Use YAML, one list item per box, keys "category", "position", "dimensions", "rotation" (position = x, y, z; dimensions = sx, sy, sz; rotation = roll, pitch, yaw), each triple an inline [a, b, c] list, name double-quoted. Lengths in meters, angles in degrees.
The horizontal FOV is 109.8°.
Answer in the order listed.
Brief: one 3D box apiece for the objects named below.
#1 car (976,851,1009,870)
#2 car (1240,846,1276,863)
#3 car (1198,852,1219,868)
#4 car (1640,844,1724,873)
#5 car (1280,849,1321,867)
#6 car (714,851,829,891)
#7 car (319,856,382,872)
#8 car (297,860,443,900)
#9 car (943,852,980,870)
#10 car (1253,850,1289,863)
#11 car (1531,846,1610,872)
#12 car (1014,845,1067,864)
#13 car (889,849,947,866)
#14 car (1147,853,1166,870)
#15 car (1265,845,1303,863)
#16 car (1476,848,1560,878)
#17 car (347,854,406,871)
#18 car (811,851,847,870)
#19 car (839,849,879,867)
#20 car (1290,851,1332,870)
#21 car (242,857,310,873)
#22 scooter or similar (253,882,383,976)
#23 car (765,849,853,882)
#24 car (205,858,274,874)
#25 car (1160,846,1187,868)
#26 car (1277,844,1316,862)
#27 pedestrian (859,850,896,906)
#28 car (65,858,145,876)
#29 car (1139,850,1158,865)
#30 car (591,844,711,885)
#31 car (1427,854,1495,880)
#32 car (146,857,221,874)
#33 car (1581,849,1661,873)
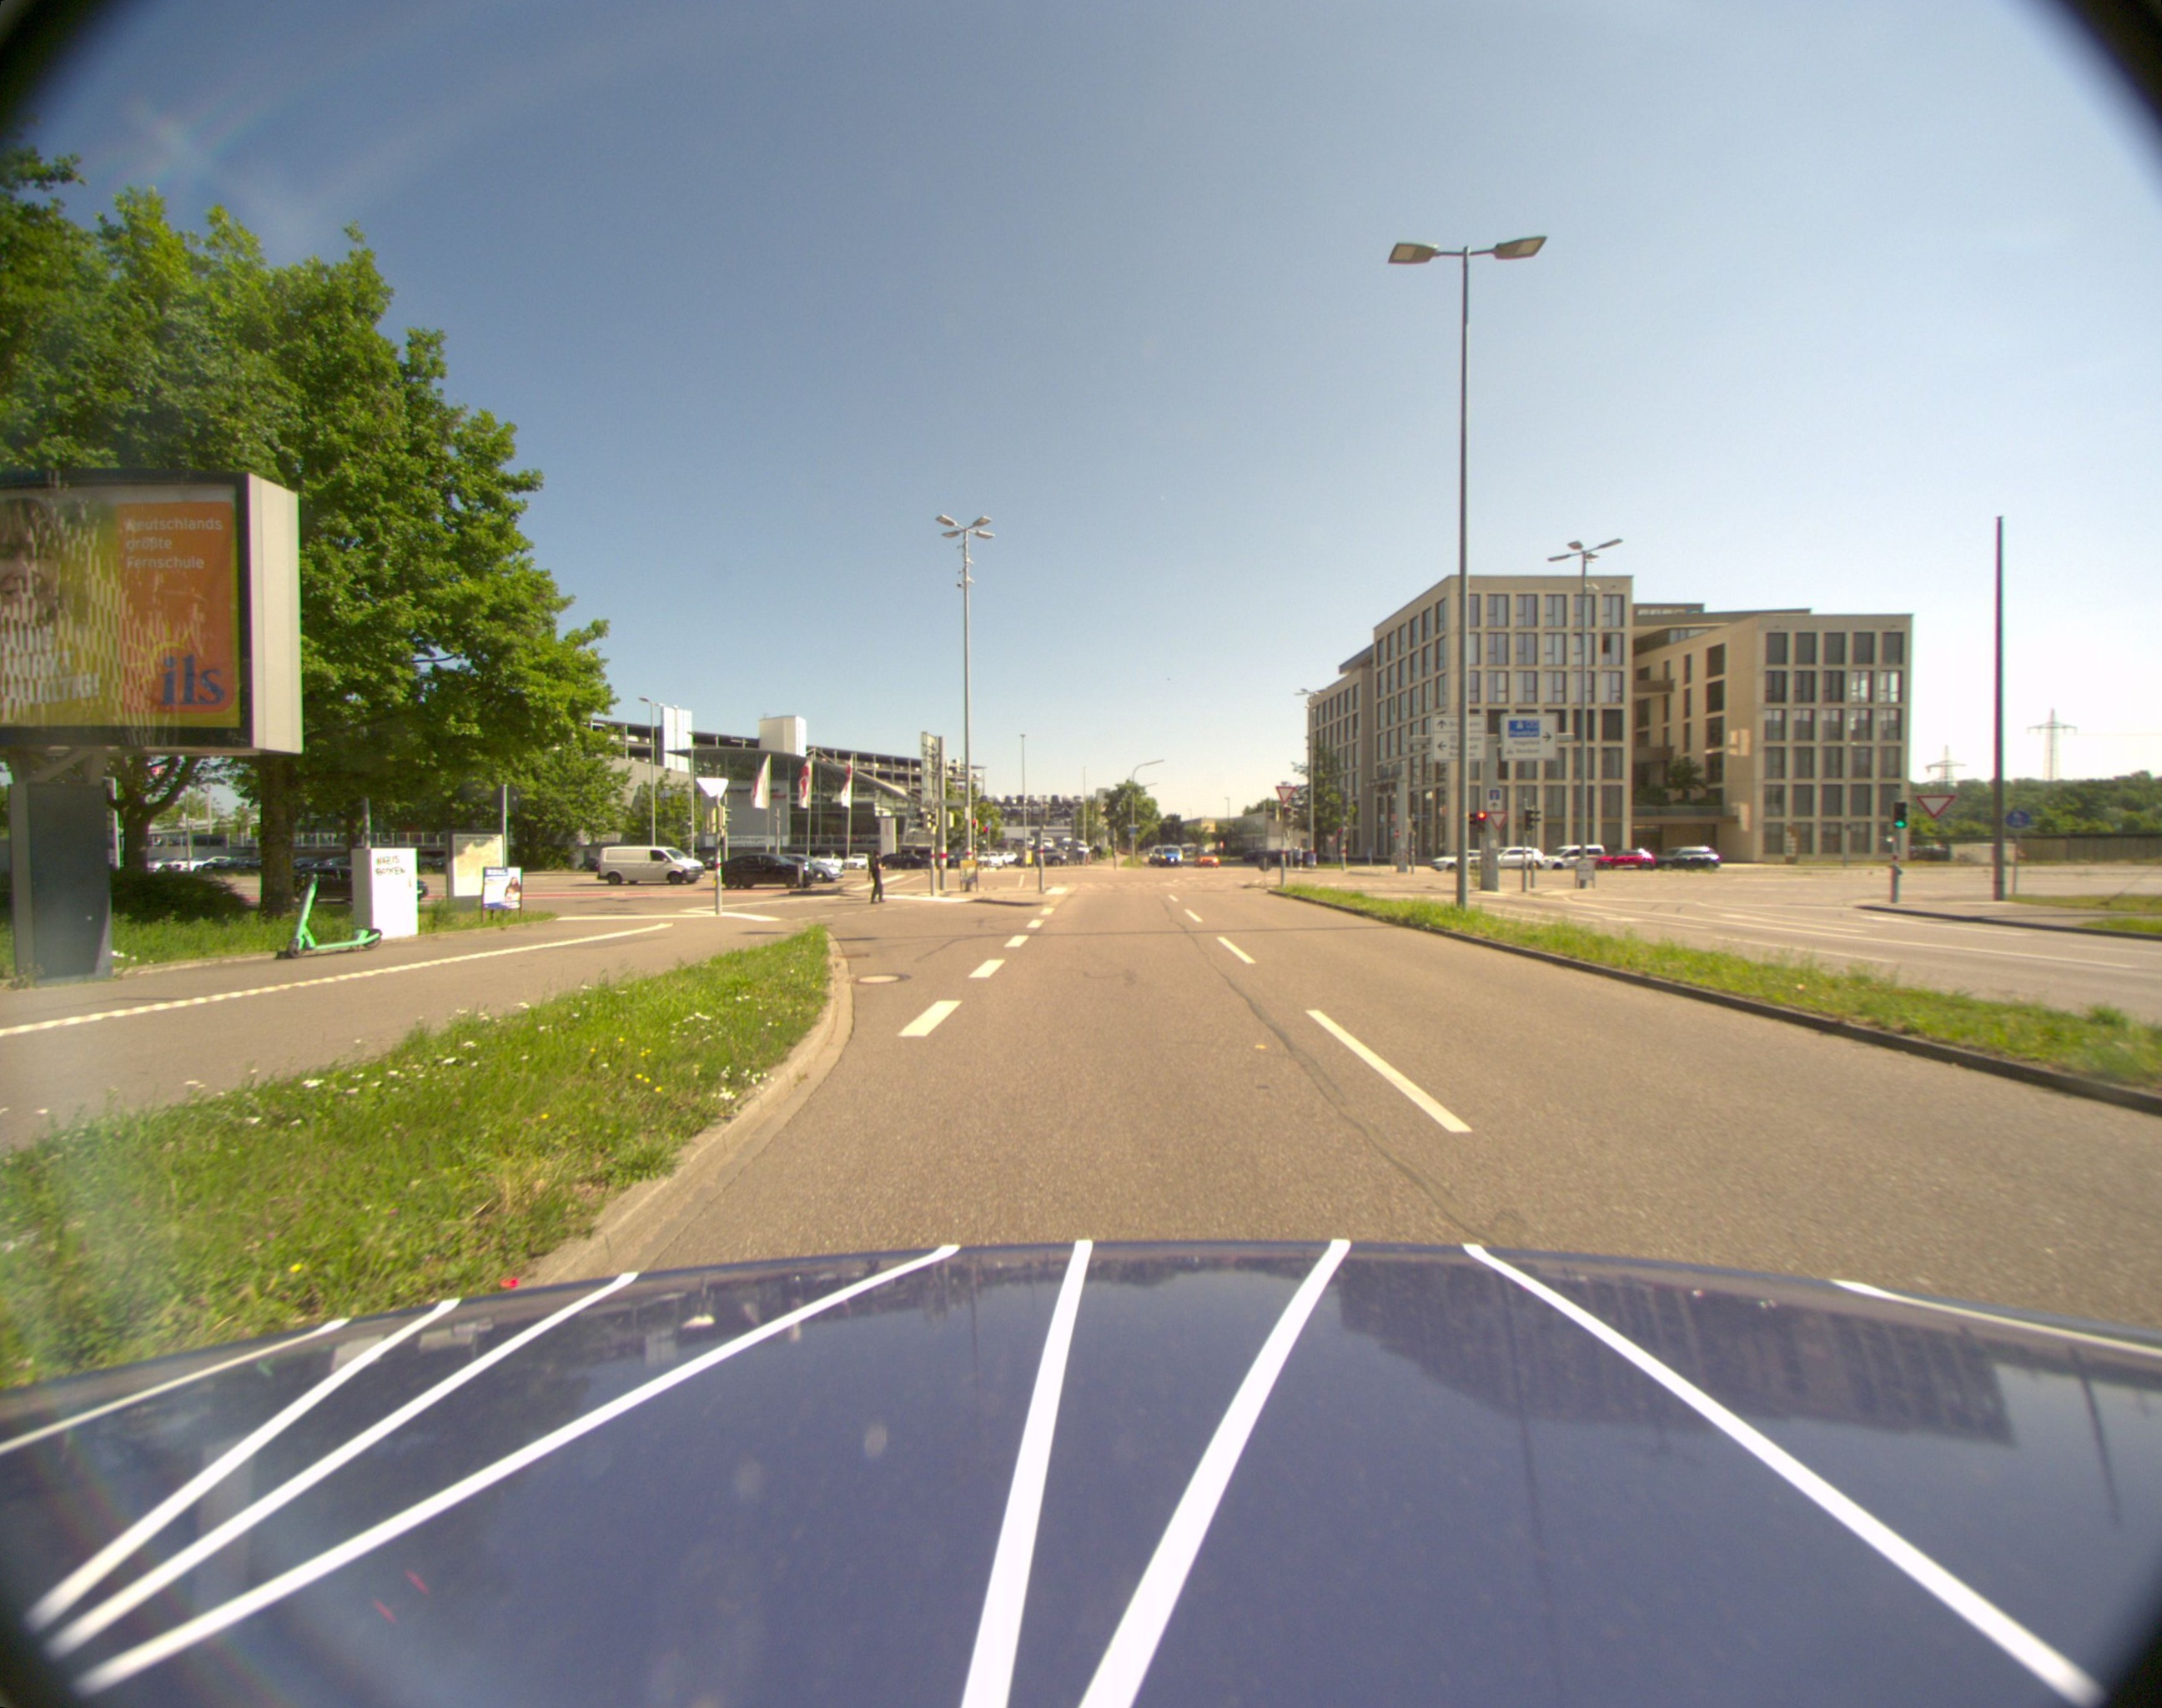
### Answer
- category: "car"
  position: [-7.135, 0.498, 61.485]
  dimensions: [1.886, 1.452, 4.001]
  rotation: [0, 1, 5]
- category: "car"
  position: [21.896, 0.060, 94.007]
  dimensions: [3.990, 2.002, 2.003]
  rotation: [0, 1, 21]
- category: "car"
  position: [11.099, 0.524, 66.481]
  dimensions: [1.737, 1.356, 3.868]
  rotation: [0, 0, 9]
- category: "car"
  position: [40.804, 0.287, 51.653]
  dimensions: [4.240, 1.878, 1.834]
  rotation: [-1, 2, 1]
- category: "car"
  position: [23.184, 0.386, 80.265]
  dimensions: [3.990, 1.816, 2.003]
  rotation: [0, 1, 21]
- category: "car"
  position: [-14.229, 0.769, 35.102]
  dimensions: [4.501, 1.618, 1.715]
  rotation: [-1, 2, -2]
- category: "car"
  position: [-58.243, 0.775, 60.617]
  dimensions: [1.594, 1.242, 3.418]
  rotation: [0, 0, 4]
- category: "car"
  position: [-28.421, 1.007, 30.440]
  dimensions: [4.235, 1.456, 1.772]
  rotation: [1, 1, 2]
- category: "car"
  position: [-9.590, 0.540, 61.318]
  dimensions: [1.998, 1.452, 4.001]
  rotation: [0, 0, 5]
- category: "car"
  position: [22.774, 0.293, 91.169]
  dimensions: [3.990, 1.605, 2.003]
  rotation: [0, 1, 21]
- category: "car"
  position: [33.506, 0.348, 52.069]
  dimensions: [4.229, 1.701, 1.904]
  rotation: [0, 0, -2]
- category: "car"
  position: [-3.462, 0.030, 66.209]
  dimensions: [4.478, 1.578, 1.980]
  rotation: [0, 0, 1]
- category: "car"
  position: [-13.275, 0.295, 61.959]
  dimensions: [4.349, 1.342, 1.821]
  rotation: [0, 0, -2]
- category: "car"
  position: [7.297, 0.692, 73.697]
  dimensions: [1.666, 1.548, 3.854]
  rotation: [0, 1, 2]
- category: "car"
  position: [23.221, -0.019, 86.954]
  dimensions: [3.990, 2.002, 2.003]
  rotation: [0, 1, 21]
- category: "car"
  position: [28.085, 0.550, 48.918]
  dimensions: [4.310, 1.827, 2.025]
  rotation: [-1, 2, -4]
- category: "car"
  position: [-55.984, 0.687, 60.430]
  dimensions: [1.639, 1.317, 3.172]
  rotation: [0, 0, 4]
- category: "car"
  position: [-20.223, 0.470, 61.119]
  dimensions: [1.786, 1.462, 3.887]
  rotation: [0, 0, -2]
- category: "car"
  position: [-17.770, 0.298, 61.077]
  dimensions: [2.004, 1.413, 4.114]
  rotation: [0, 0, 0]
- category: "car"
  position: [23.288, 0.640, 77.067]
  dimensions: [3.992, 1.729, 2.002]
  rotation: [1, 2, 14]
- category: "car"
  position: [-63.330, 0.837, 59.828]
  dimensions: [1.594, 1.242, 3.418]
  rotation: [0, 0, 4]
- category: "scooter or similar"
  position: [-10.570, 1.005, 10.567]
  dimensions: [0.402, 1.160, 1.185]
  rotation: [0, 2, 17]
- category: "car"
  position: [-13.900, 0.583, 38.982]
  dimensions: [3.826, 1.603, 1.760]
  rotation: [0, 2, 6]
- category: "car"
  position: [-66.422, 0.917, 60.044]
  dimensions: [1.594, 1.242, 3.418]
  rotation: [0, 0, 4]
- category: "car"
  position: [8.143, 0.226, 66.758]
  dimensions: [2.184, 1.898, 4.733]
  rotation: [0, 0, 9]
- category: "car"
  position: [23.811, -0.143, 83.860]
  dimensions: [3.990, 2.002, 2.003]
  rotation: [0, 1, 21]
- category: "pedestrian"
  position: [-6.621, 0.751, 24.721]
  dimensions: [0.704, 1.769, 0.961]
  rotation: [1, 1, 25]
- category: "car"
  position: [-74.514, 0.967, 58.091]
  dimensions: [1.594, 1.242, 3.418]
  rotation: [0, 0, 4]
- category: "car"
  position: [7.234, 0.358, 81.503]
  dimensions: [1.912, 1.485, 3.866]
  rotation: [0, 1, 7]
- category: "car"
  position: [-21.750, 0.520, 38.584]
  dimensions: [4.997, 1.996, 1.740]
  rotation: [0, 2, -2]
- category: "car"
  position: [25.949, 0.872, 51.944]
  dimensions: [3.765, 1.703, 1.833]
  rotation: [-1, 2, -5]
- category: "car"
  position: [-69.268, 0.902, 58.694]
  dimensions: [1.594, 1.242, 3.418]
  rotation: [0, 0, 4]
- category: "car"
  position: [34.602, 0.420, 48.748]
  dimensions: [4.118, 1.519, 1.530]
  rotation: [0, 1, -2]
